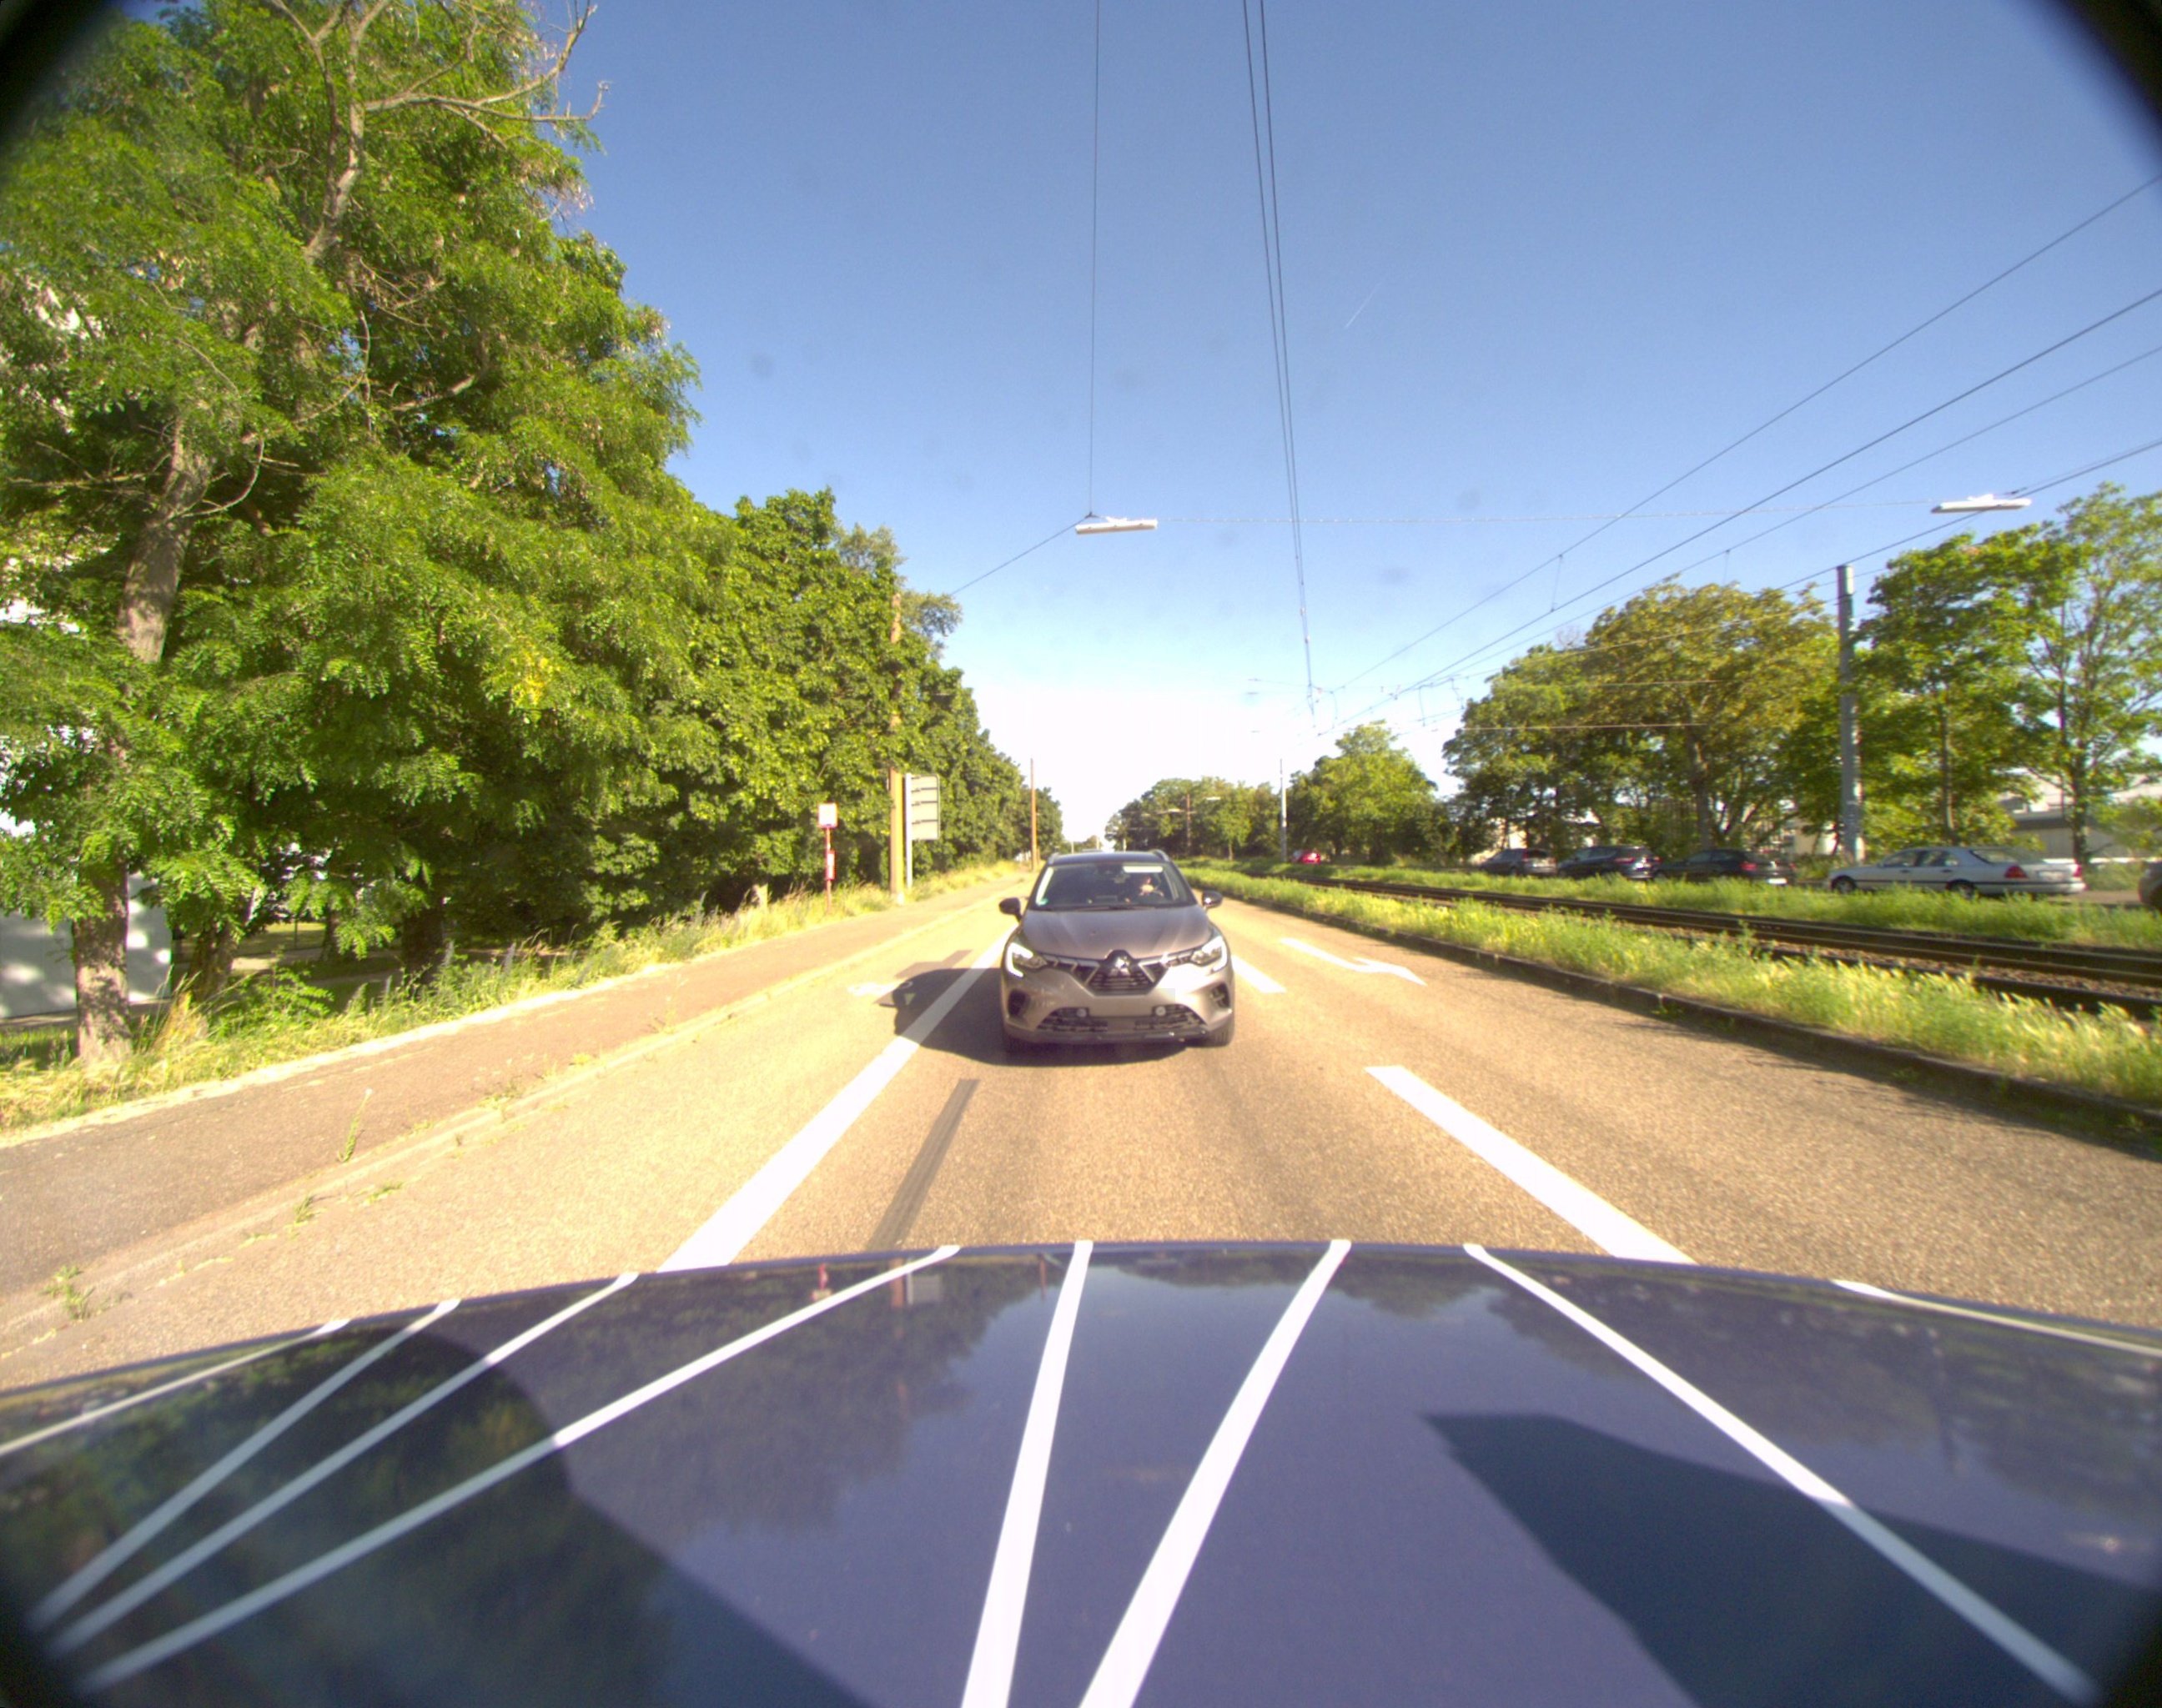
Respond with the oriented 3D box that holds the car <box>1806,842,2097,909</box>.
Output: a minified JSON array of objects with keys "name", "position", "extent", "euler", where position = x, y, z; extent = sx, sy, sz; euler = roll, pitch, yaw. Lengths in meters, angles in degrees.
[{"name":"car","position":[21.388,0.485,19.062],"extent":[1.933,1.429,4.695],"euler":[-2,0,1]}]

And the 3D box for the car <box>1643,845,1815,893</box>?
[{"name":"car","position":[21.395,0.466,25.365],"extent":[1.998,1.429,4.415],"euler":[-2,0,1]}]

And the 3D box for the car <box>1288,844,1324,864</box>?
[{"name":"car","position":[20.984,-0.004,71.109],"extent":[2.009,1.692,4.466],"euler":[-1,0,-1]}]

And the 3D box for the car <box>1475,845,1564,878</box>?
[{"name":"car","position":[21.469,0.332,37.432],"extent":[1.740,1.486,4.327],"euler":[-3,1,-1]}]

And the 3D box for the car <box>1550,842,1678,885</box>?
[{"name":"car","position":[21.362,0.359,30.724],"extent":[1.999,1.565,4.434],"euler":[-2,0,-1]}]

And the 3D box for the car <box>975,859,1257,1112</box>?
[{"name":"car","position":[0.244,0.893,7.292],"extent":[1.822,1.589,4.413],"euler":[-2,0,0]}]

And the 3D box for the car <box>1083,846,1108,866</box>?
[{"name":"car","position":[1.184,0.177,65.083],"extent":[1.999,1.577,3.999],"euler":[-2,0,-1]}]

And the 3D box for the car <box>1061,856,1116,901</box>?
[{"name":"car","position":[0.286,0.828,27.787],"extent":[1.832,1.477,4.000],"euler":[-2,0,1]}]

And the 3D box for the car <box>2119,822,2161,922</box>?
[{"name":"car","position":[21.276,0.309,12.398],"extent":[2.202,1.880,4.792],"euler":[-2,0,3]}]
